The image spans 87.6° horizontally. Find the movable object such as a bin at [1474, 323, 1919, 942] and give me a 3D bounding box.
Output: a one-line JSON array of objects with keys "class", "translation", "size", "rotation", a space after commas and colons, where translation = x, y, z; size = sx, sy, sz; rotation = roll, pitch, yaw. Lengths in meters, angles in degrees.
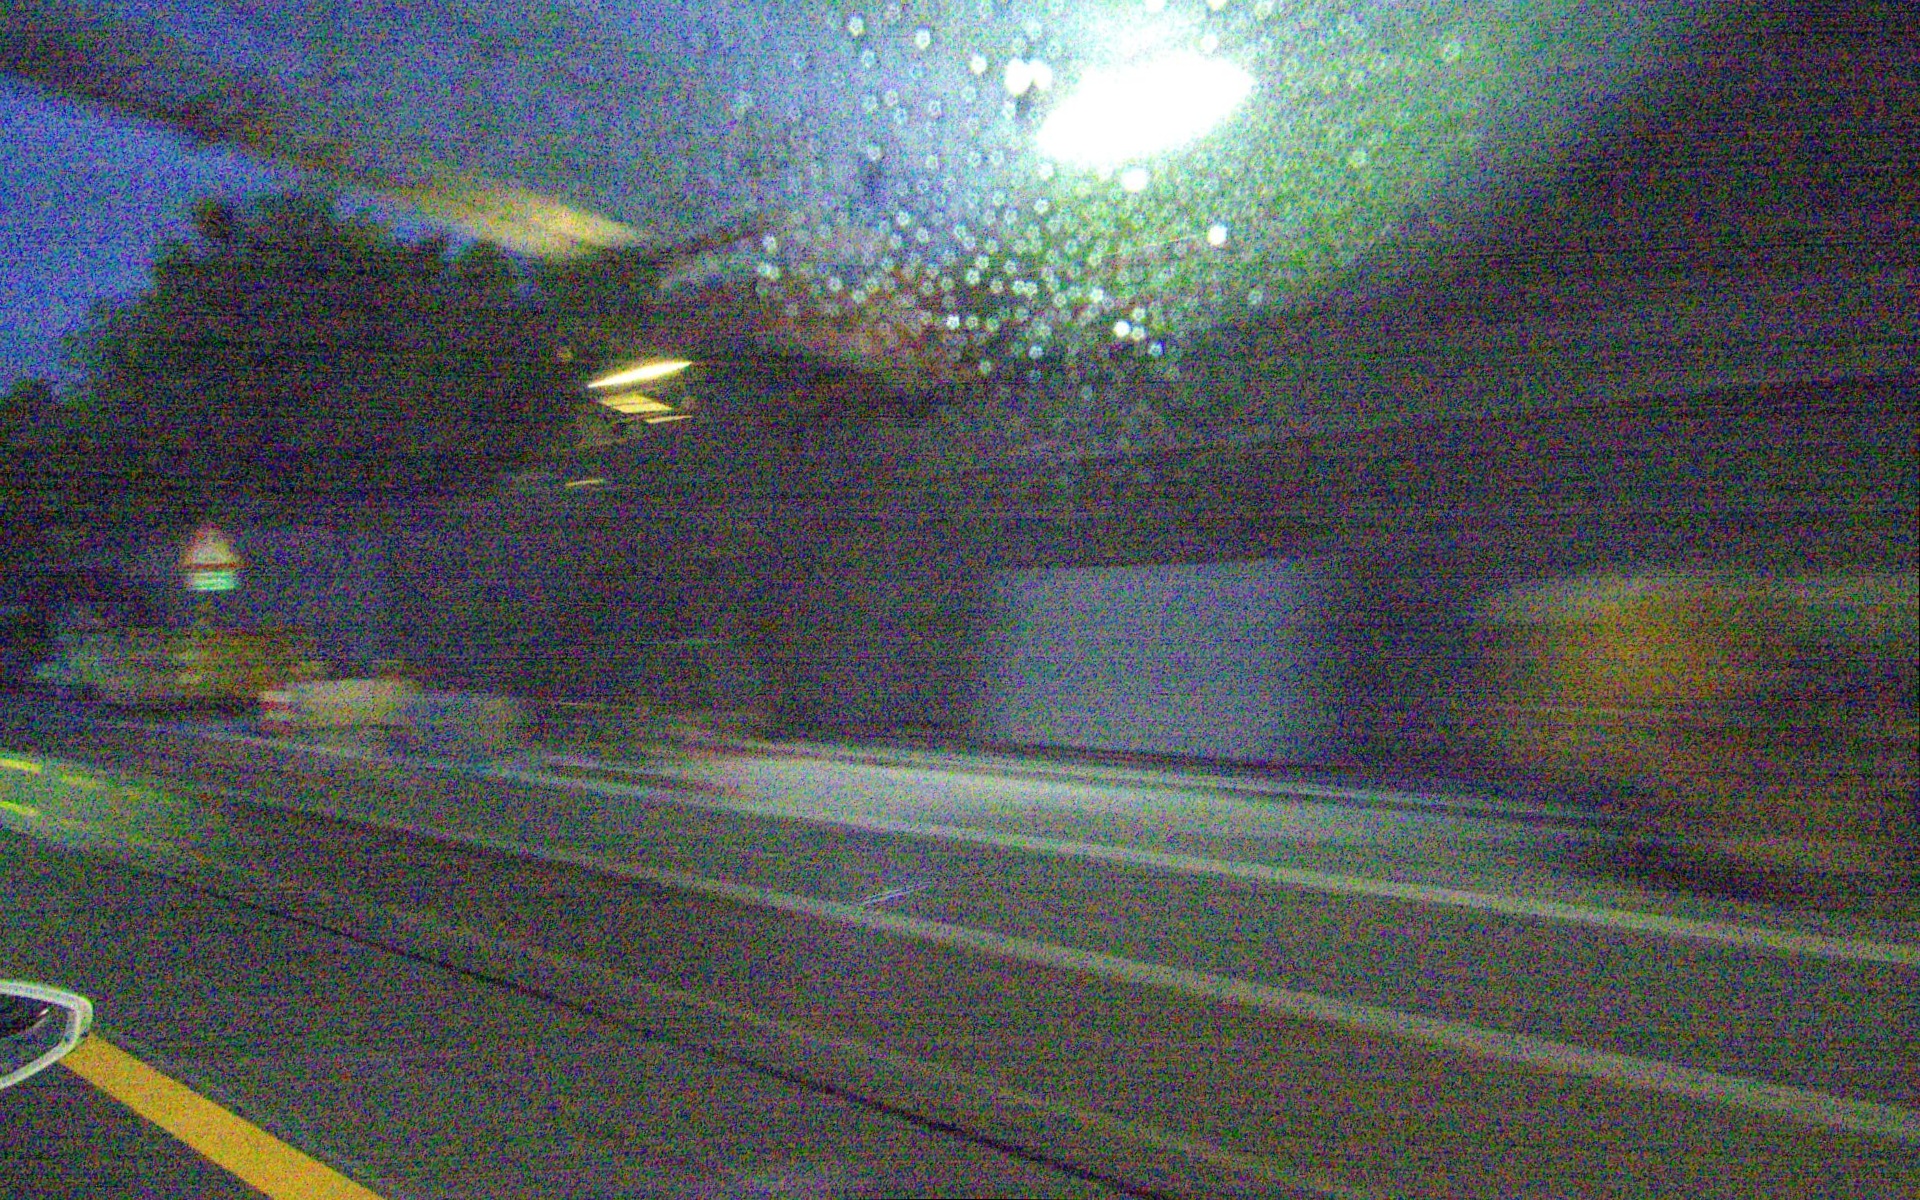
[{"class": "movable object such as a bin", "translation": [6.664, 0.159, 4.986], "size": [7.093, 2.863, 2.965], "rotation": [-1, -2, 32]}]
